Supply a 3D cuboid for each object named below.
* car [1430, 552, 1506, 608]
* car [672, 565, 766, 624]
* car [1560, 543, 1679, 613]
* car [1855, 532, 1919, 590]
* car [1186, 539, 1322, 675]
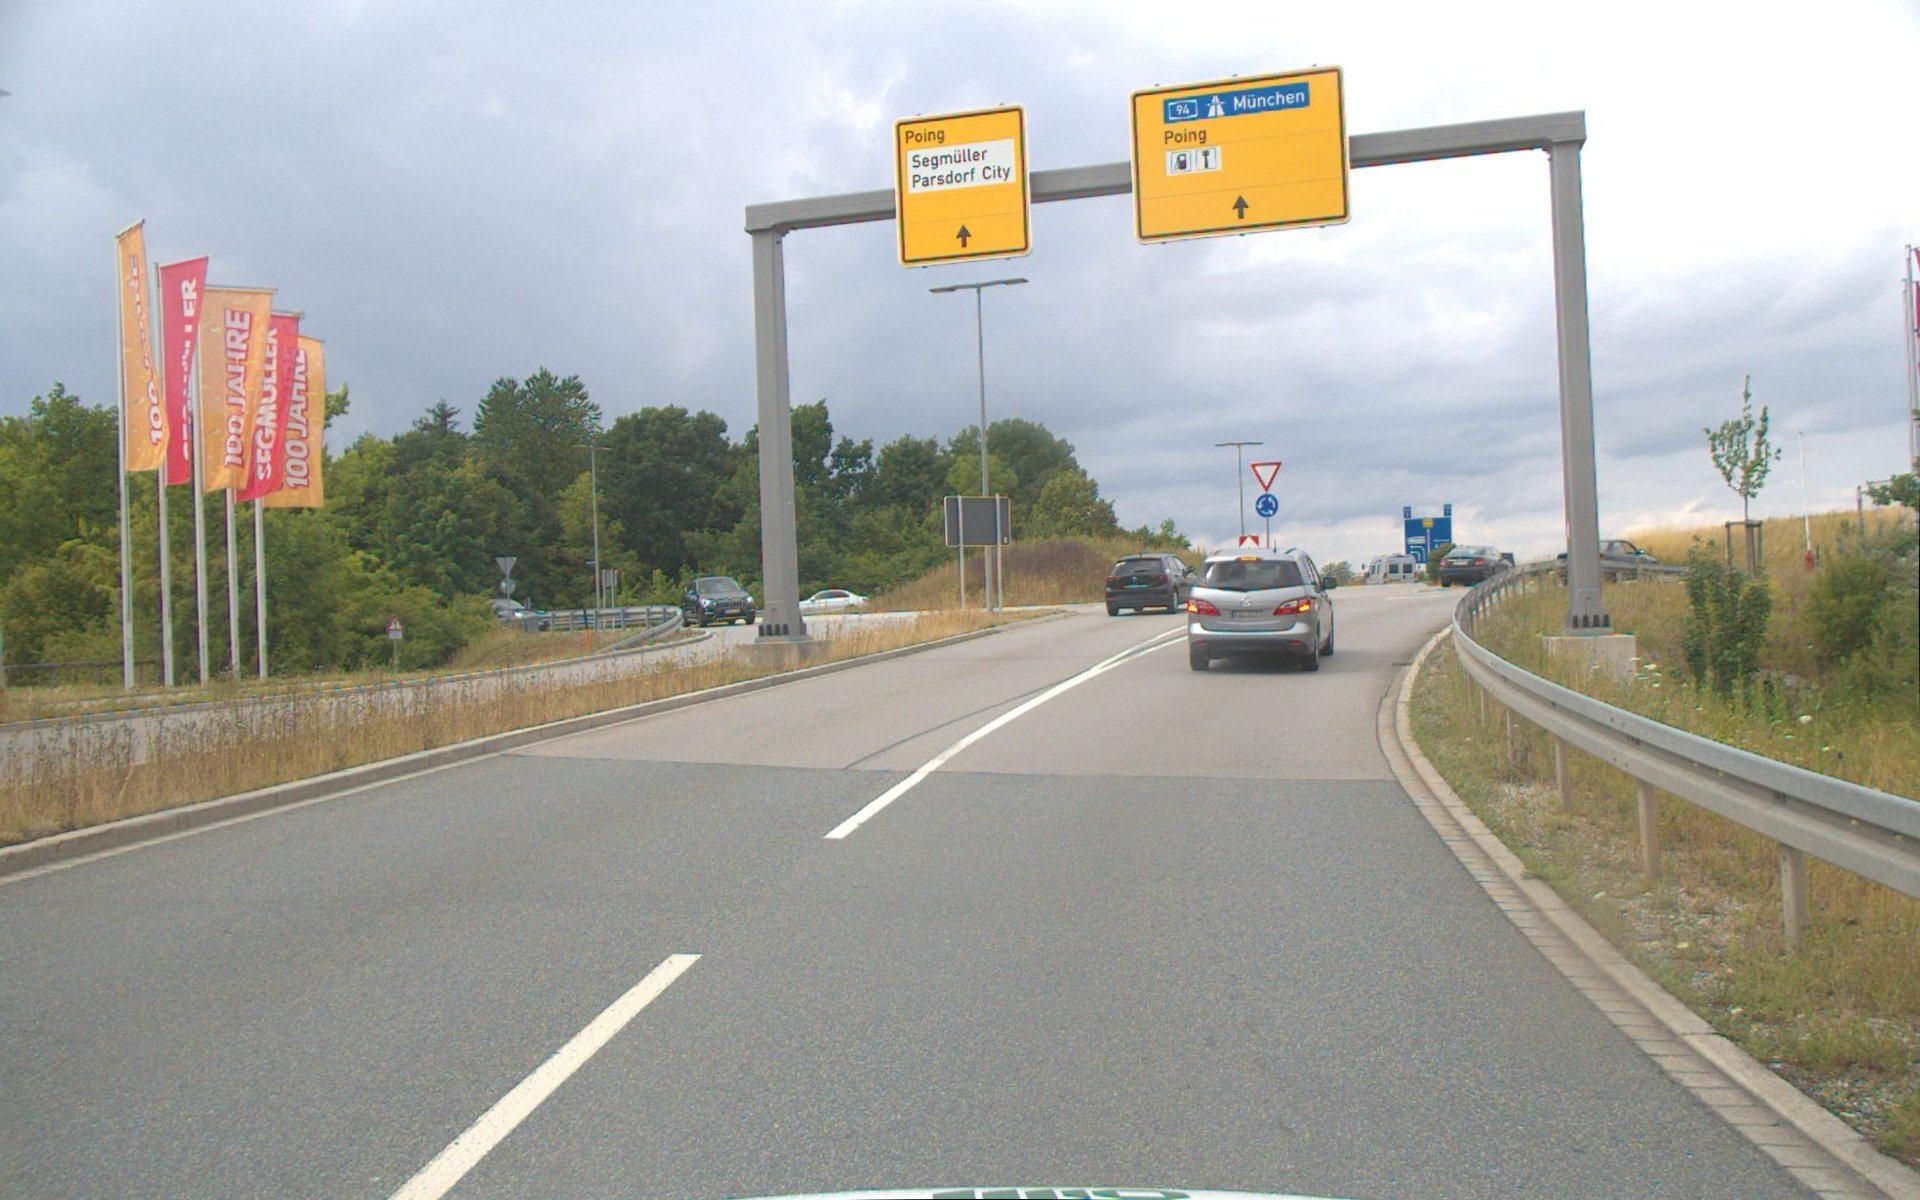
[{"bbox_3d":[17.863,-0.705,58.054,1.859,1.814,4.154,-3,0,26],"label":"car"},{"bbox_3d":[-7.884,-0.138,53.852,1.831,1.693,4.130,-5,1,-25],"label":"car"},{"bbox_3d":[19.398,-0.661,48.586,3.924,1.870,1.633,-3,0,-42],"label":"car"},{"bbox_3d":[35.961,-1.517,62.007,3.955,2.049,1.795,-3,0,22],"label":"car"},{"bbox_3d":[4.099,0.017,23.262,1.729,1.644,3.926,0,4,9],"label":"car"}]
